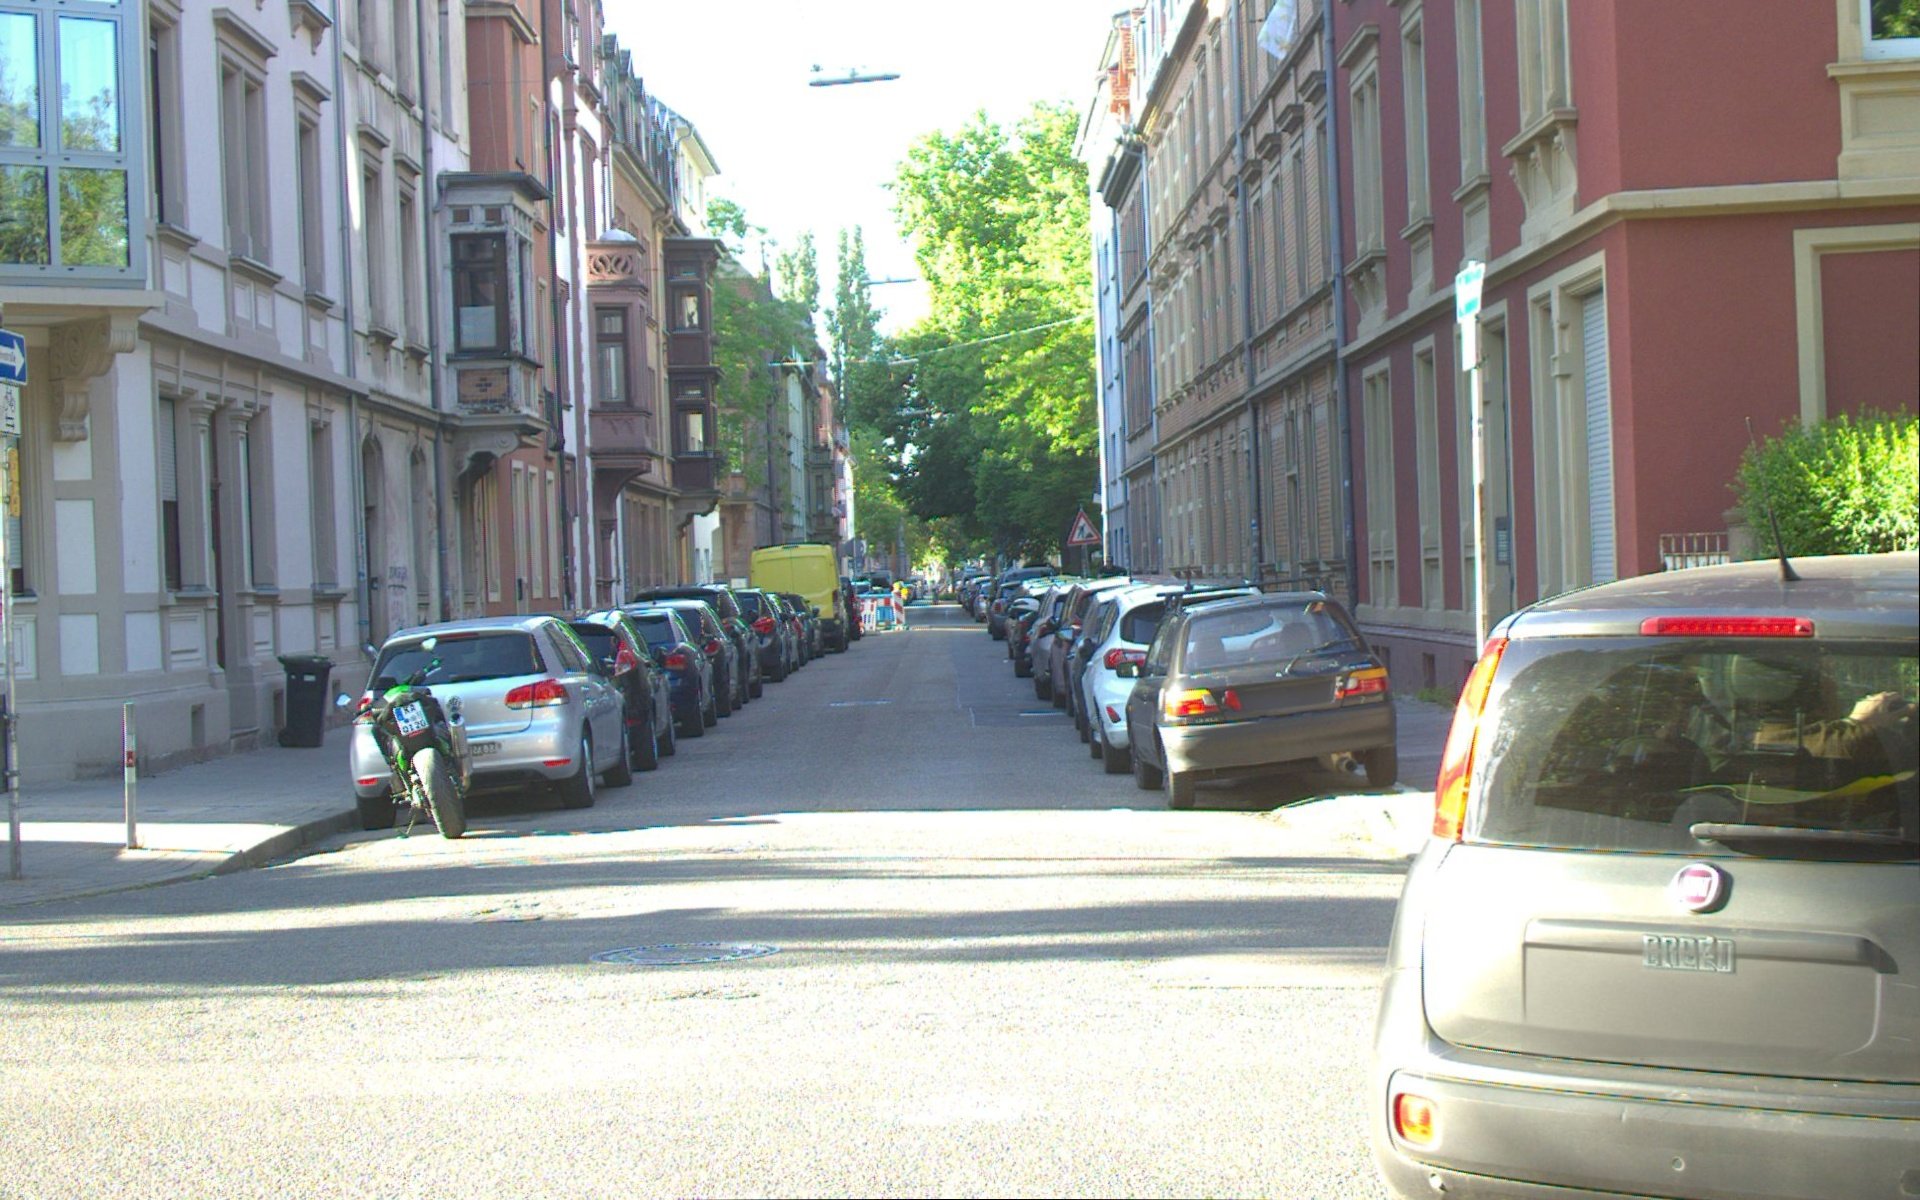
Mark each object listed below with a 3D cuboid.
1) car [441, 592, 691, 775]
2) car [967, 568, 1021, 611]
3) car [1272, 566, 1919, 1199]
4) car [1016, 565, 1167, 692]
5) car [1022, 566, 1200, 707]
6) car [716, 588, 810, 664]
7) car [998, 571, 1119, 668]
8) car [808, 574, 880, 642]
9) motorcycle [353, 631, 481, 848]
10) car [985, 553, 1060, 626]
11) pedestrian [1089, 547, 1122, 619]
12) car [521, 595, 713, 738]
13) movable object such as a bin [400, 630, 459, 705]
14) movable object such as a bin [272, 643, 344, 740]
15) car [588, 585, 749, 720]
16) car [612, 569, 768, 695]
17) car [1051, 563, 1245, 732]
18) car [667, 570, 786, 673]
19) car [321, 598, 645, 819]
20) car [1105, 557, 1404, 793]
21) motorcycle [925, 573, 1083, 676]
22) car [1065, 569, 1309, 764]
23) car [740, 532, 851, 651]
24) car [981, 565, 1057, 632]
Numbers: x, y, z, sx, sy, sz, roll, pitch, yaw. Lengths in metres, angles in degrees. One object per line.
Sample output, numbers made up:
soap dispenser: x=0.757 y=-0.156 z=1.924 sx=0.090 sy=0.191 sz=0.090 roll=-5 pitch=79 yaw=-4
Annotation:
car: x=-3.534 y=0.714 z=31.407 sx=1.781 sy=1.478 sz=3.743 roll=-2 pitch=1 yaw=0
car: x=1.242 y=-0.403 z=127.365 sx=1.723 sy=1.517 sz=4.000 roll=-3 pitch=1 yaw=-3
car: x=2.309 y=0.678 z=7.713 sx=1.637 sy=1.478 sz=3.526 roll=-2 pitch=1 yaw=35
car: x=1.660 y=0.326 z=44.706 sx=1.762 sy=1.479 sz=4.401 roll=-2 pitch=1 yaw=0
car: x=1.702 y=0.380 z=39.873 sx=1.658 sy=1.474 sz=4.025 roll=-2 pitch=1 yaw=-2
car: x=-3.895 y=0.500 z=68.447 sx=1.618 sy=1.322 sz=3.612 roll=-5 pitch=0 yaw=-1
car: x=1.540 y=0.278 z=55.044 sx=1.777 sy=1.392 sz=4.317 roll=-2 pitch=1 yaw=0
car: x=-3.211 y=0.207 z=94.528 sx=1.818 sy=1.760 sz=4.336 roll=-2 pitch=0 yaw=-3
motorcycle: x=-3.666 y=0.915 z=23.347 sx=0.676 sy=1.329 sz=2.001 roll=-5 pitch=1 yaw=-7
car: x=1.673 y=-0.319 z=93.260 sx=1.754 sy=1.780 sz=4.724 roll=-5 pitch=1 yaw=0
pedestrian: x=3.405 y=-0.401 z=80.434 sx=0.653 sy=1.625 sz=0.880 roll=-4 pitch=0 yaw=4
car: x=-3.703 y=0.691 z=37.656 sx=1.781 sy=1.398 sz=3.743 roll=-2 pitch=1 yaw=-2
movable object such as a bin: x=-6.795 y=0.862 z=44.078 sx=0.612 sy=0.917 sz=0.734 roll=-2 pitch=0 yaw=0
movable object such as a bin: x=-6.561 y=0.917 z=34.615 sx=0.621 sy=0.952 sz=0.511 roll=-1 pitch=0 yaw=0
car: x=-3.590 y=0.610 z=42.830 sx=1.643 sy=1.450 sz=3.839 roll=-5 pitch=1 yaw=-1
car: x=-3.721 y=0.404 z=48.013 sx=1.761 sy=1.612 sz=4.189 roll=-2 pitch=1 yaw=0
car: x=1.812 y=0.422 z=34.221 sx=1.676 sy=1.498 sz=4.069 roll=-2 pitch=1 yaw=0
car: x=-3.879 y=0.327 z=57.618 sx=1.781 sy=1.600 sz=4.070 roll=-2 pitch=1 yaw=-2
car: x=-3.602 y=0.782 z=26.633 sx=1.781 sy=1.478 sz=3.932 roll=-2 pitch=1 yaw=2
car: x=2.002 y=0.470 z=24.298 sx=1.668 sy=1.478 sz=3.706 roll=-2 pitch=1 yaw=-1
motorcycle: x=0.667 y=0.354 z=52.073 sx=2.219 sy=1.531 sz=0.890 roll=0 pitch=1 yaw=-26
car: x=1.836 y=0.504 z=28.819 sx=1.705 sy=1.457 sz=3.970 roll=-2 pitch=1 yaw=0
car: x=-3.774 y=-0.212 z=79.840 sx=2.175 sy=2.499 sz=5.878 roll=-5 pitch=1 yaw=-1
car: x=1.515 y=-0.054 z=87.825 sx=1.754 sy=1.448 sz=4.287 roll=-6 pitch=1 yaw=1
